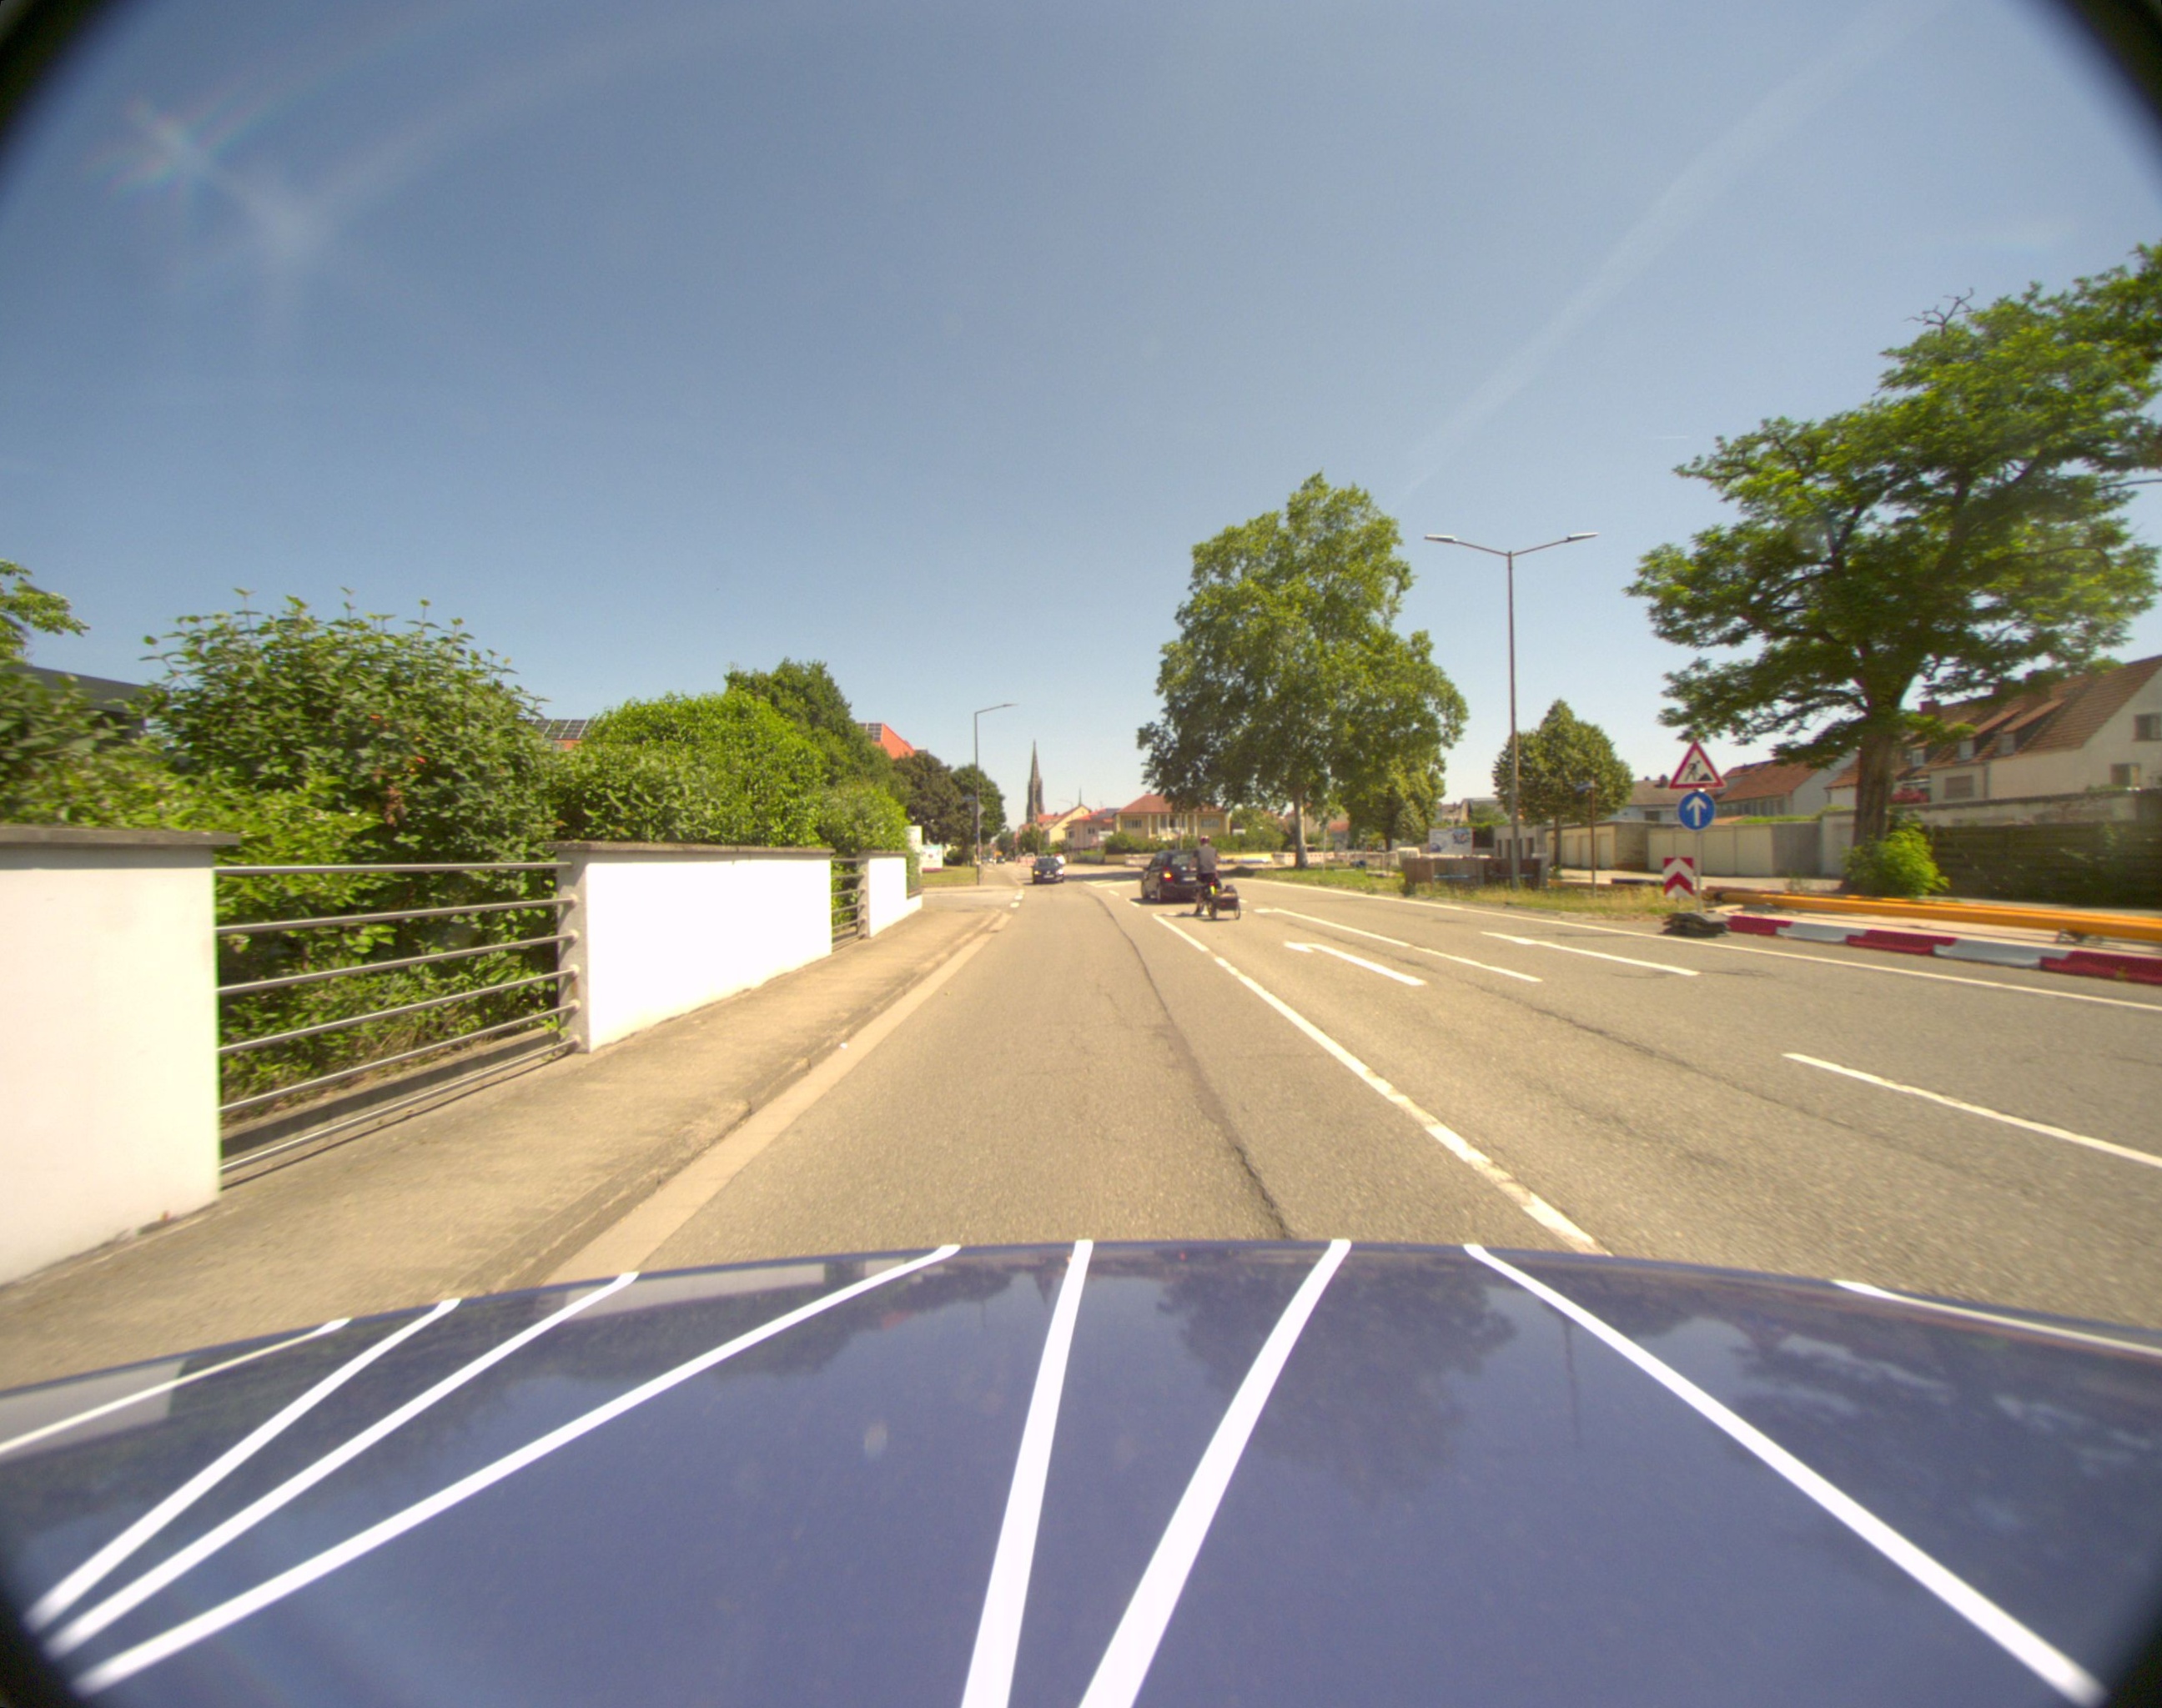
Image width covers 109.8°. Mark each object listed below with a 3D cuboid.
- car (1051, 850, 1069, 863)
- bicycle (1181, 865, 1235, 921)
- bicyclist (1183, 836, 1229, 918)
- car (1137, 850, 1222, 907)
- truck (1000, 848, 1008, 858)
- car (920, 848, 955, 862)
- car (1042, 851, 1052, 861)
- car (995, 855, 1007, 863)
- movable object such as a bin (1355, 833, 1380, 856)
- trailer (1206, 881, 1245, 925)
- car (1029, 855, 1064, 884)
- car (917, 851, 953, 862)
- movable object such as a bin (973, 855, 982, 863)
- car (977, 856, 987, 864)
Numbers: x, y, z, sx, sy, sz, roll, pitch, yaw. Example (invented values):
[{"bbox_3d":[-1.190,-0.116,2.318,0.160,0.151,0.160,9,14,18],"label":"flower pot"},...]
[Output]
[{"bbox_3d":[-2.631,0.254,94.116,1.704,1.501,3.456,-3,1,-8],"label":"car"},{"bbox_3d":[2.946,0.881,17.846,0.852,1.159,1.976,-2,1,-2],"label":"bicycle"},{"bbox_3d":[2.931,0.530,17.886,0.848,1.855,0.976,-2,1,-2],"label":"bicyclist"},{"bbox_3d":[2.937,0.675,23.406,1.730,1.523,3.828,-3,1,-5],"label":"car"},{"bbox_3d":[-24.199,-0.382,239.430,2.224,2.921,5.346,-1,0,-10],"label":"truck"},{"bbox_3d":[-18.731,0.159,99.142,4.370,1.776,1.998,1,0,-11],"label":"car"},{"bbox_3d":[-5.653,0.281,125.954,1.391,1.568,3.318,-1,0,-10],"label":"car"},{"bbox_3d":[-14.313,0.851,136.112,1.713,1.449,3.560,-1,0,-12],"label":"car"},{"bbox_3d":[34.247,-1.116,90.956,2.274,2.719,3.934,-1,1,12],"label":"movable object such as a bin"},{"bbox_3d":[3.087,1.042,16.287,0.572,0.851,1.132,-1,0,-2],"label":"trailer"},{"bbox_3d":[-1.918,0.813,41.851,1.608,1.436,3.906,-3,1,-6],"label":"car"},{"bbox_3d":[-18.502,0.329,96.391,4.370,1.427,1.998,1,0,-11],"label":"car"},{"bbox_3d":[-17.876,0.849,131.764,1.500,1.472,1.421,-1,1,-10],"label":"movable object such as a bin"},{"bbox_3d":[-18.296,1.084,140.195,1.608,1.403,3.906,-3,1,-8],"label":"car"}]
